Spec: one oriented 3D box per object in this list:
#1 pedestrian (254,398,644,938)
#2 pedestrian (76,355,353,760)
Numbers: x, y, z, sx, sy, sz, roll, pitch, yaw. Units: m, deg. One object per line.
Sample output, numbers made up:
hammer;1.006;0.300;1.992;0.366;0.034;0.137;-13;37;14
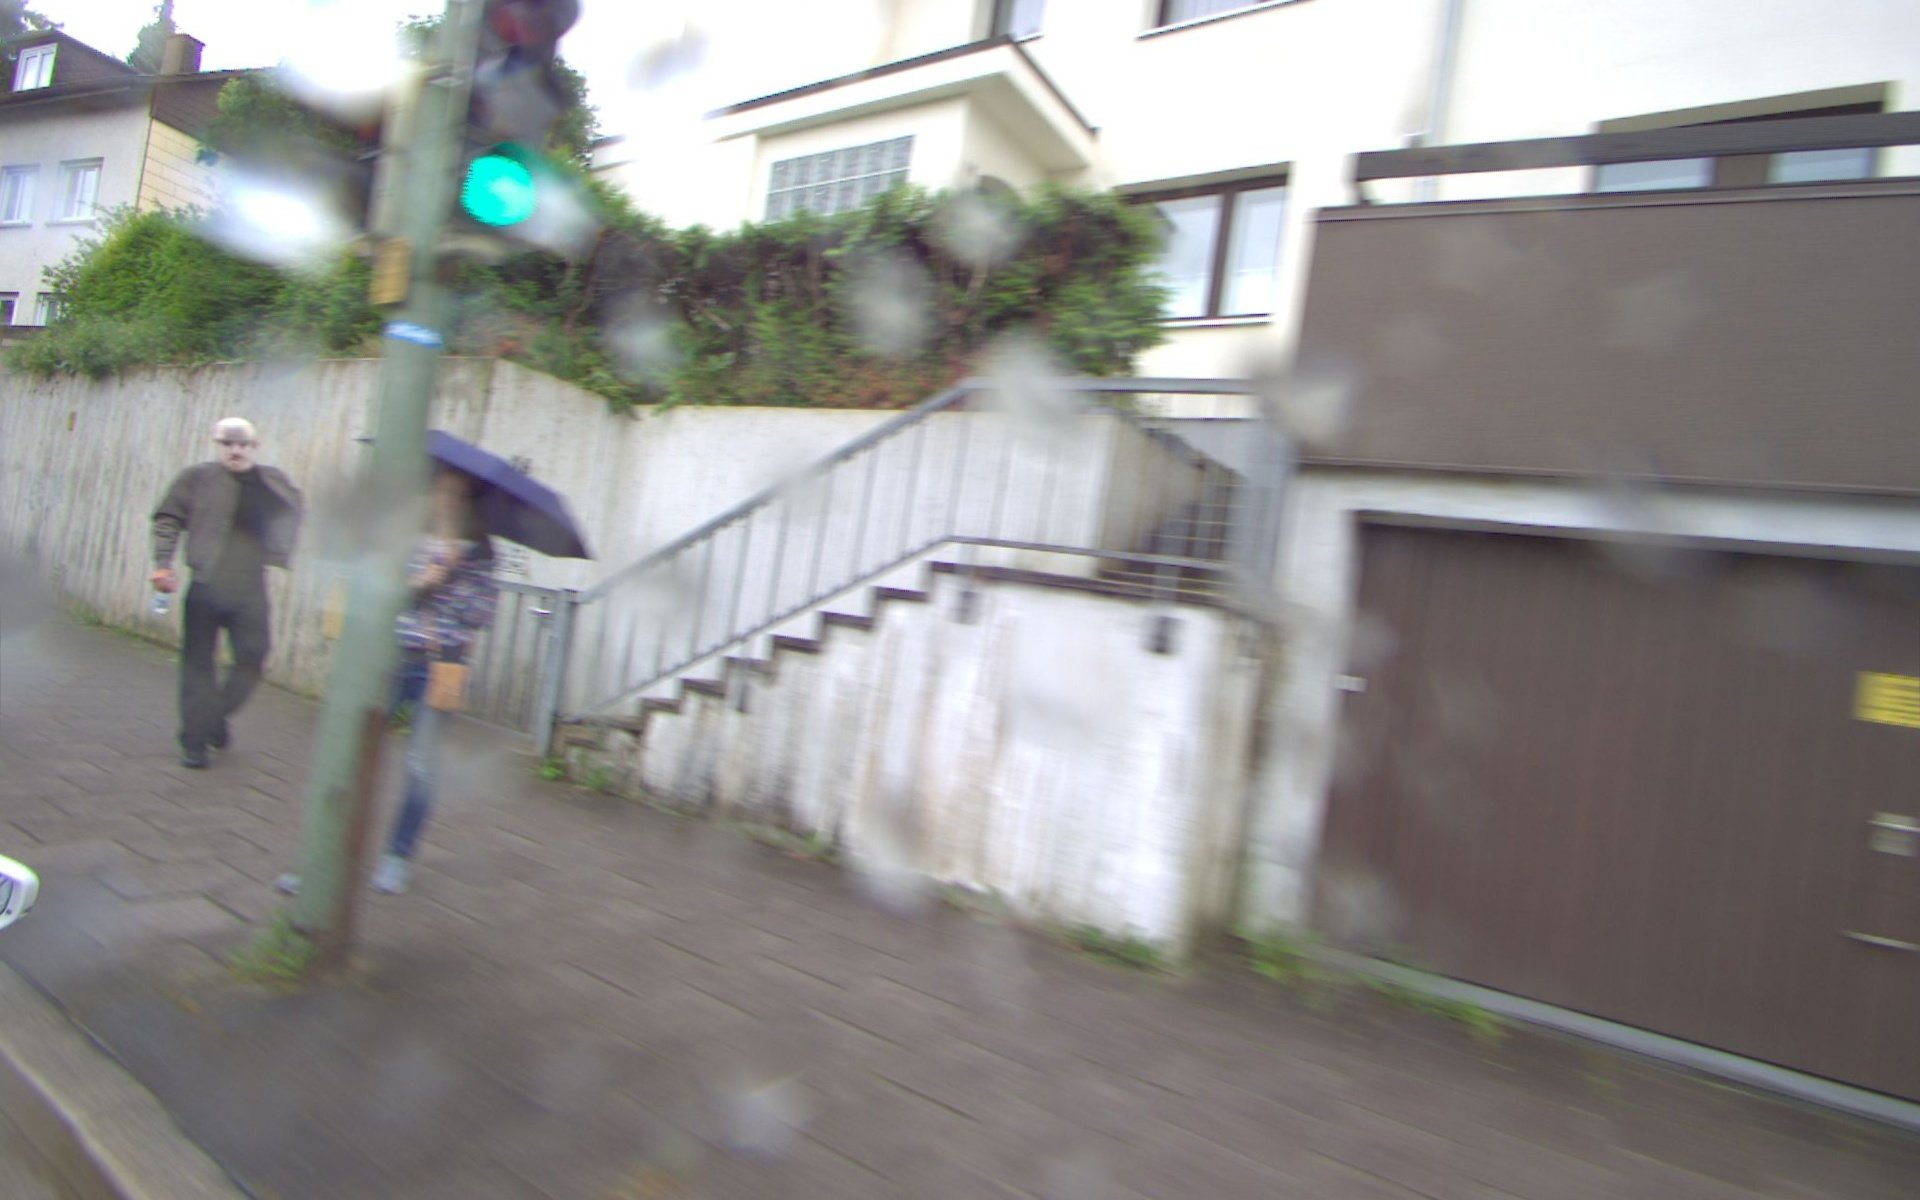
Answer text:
pedestrian;-1.986;0.207;3.935;0.995;1.802;0.794;7;1;32
pedestrian;-4.081;-0.211;5.538;0.722;2.037;0.798;7;-1;31
